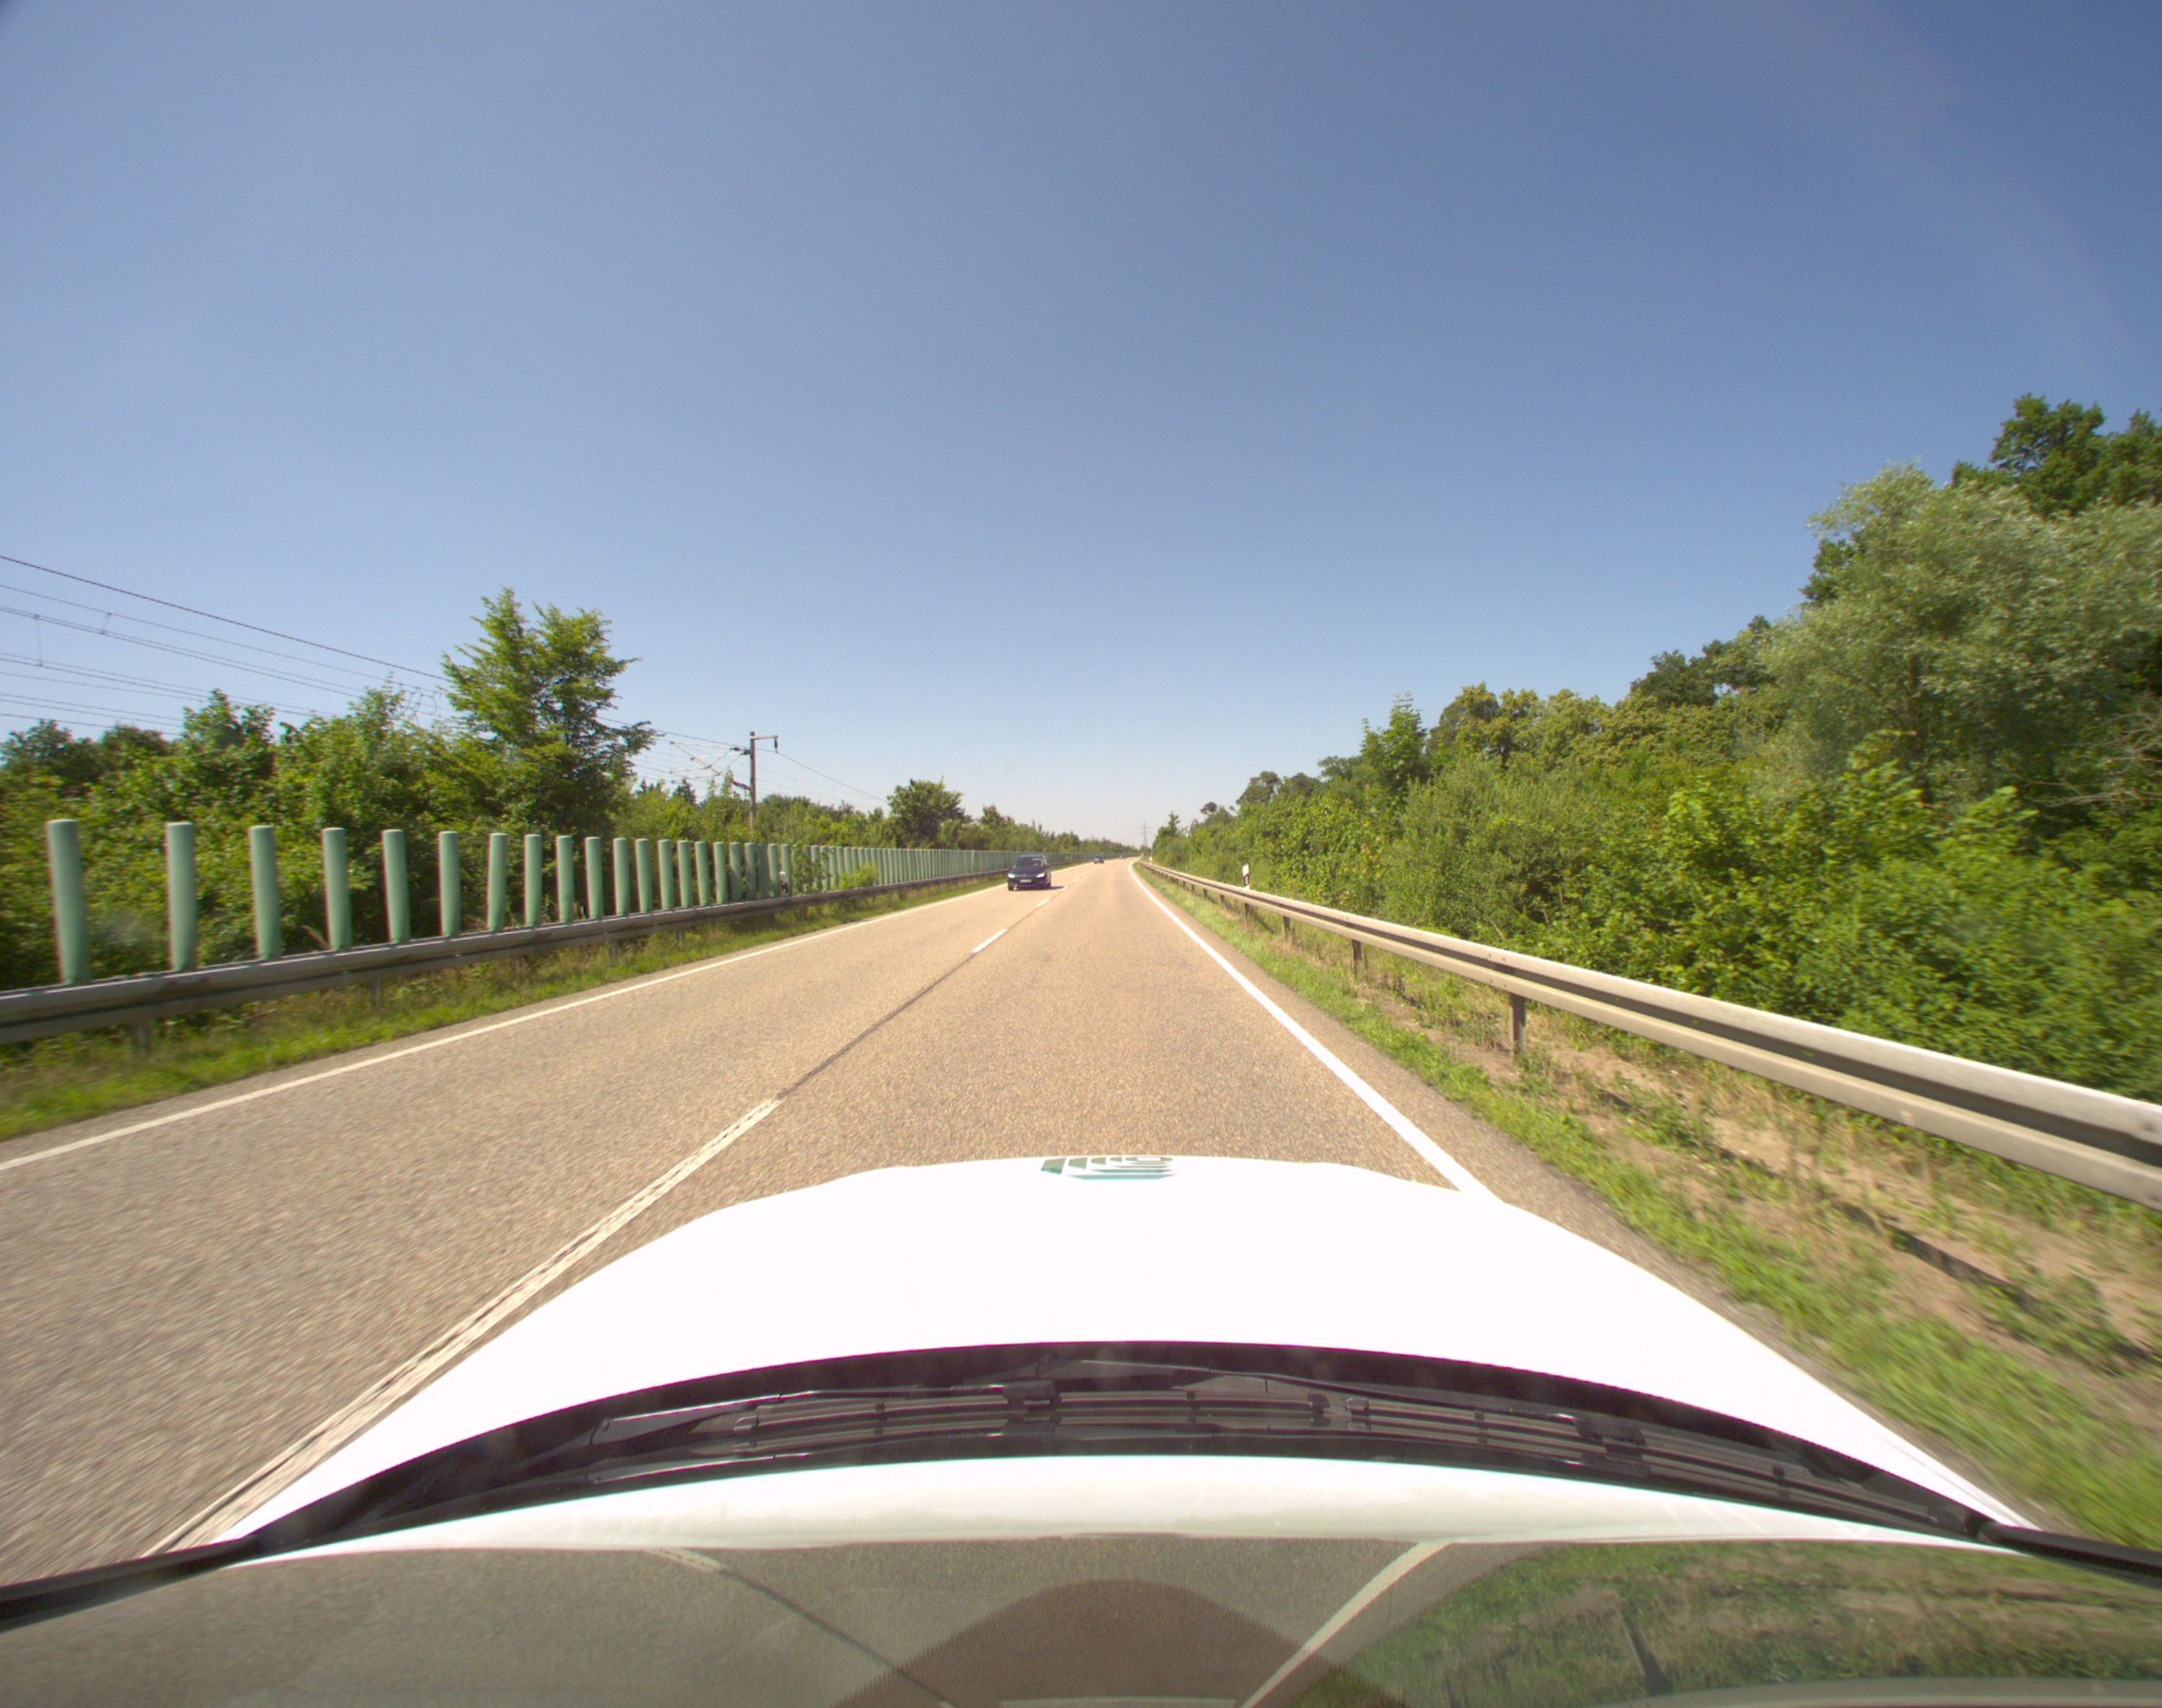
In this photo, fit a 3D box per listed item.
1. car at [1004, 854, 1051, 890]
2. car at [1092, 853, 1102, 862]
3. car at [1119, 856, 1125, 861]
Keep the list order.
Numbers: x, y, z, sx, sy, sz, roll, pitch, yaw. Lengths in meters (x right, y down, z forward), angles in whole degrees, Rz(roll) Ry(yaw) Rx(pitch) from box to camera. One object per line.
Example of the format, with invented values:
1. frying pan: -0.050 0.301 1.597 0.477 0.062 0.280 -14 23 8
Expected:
1. car: -2.512 0.845 39.249 1.757 1.640 4.129 -1 -1 3
2. car: 2.868 0.617 143.076 1.642 1.479 3.678 -1 0 2
3. car: 12.922 1.397 255.695 1.778 1.371 3.902 -1 1 4
